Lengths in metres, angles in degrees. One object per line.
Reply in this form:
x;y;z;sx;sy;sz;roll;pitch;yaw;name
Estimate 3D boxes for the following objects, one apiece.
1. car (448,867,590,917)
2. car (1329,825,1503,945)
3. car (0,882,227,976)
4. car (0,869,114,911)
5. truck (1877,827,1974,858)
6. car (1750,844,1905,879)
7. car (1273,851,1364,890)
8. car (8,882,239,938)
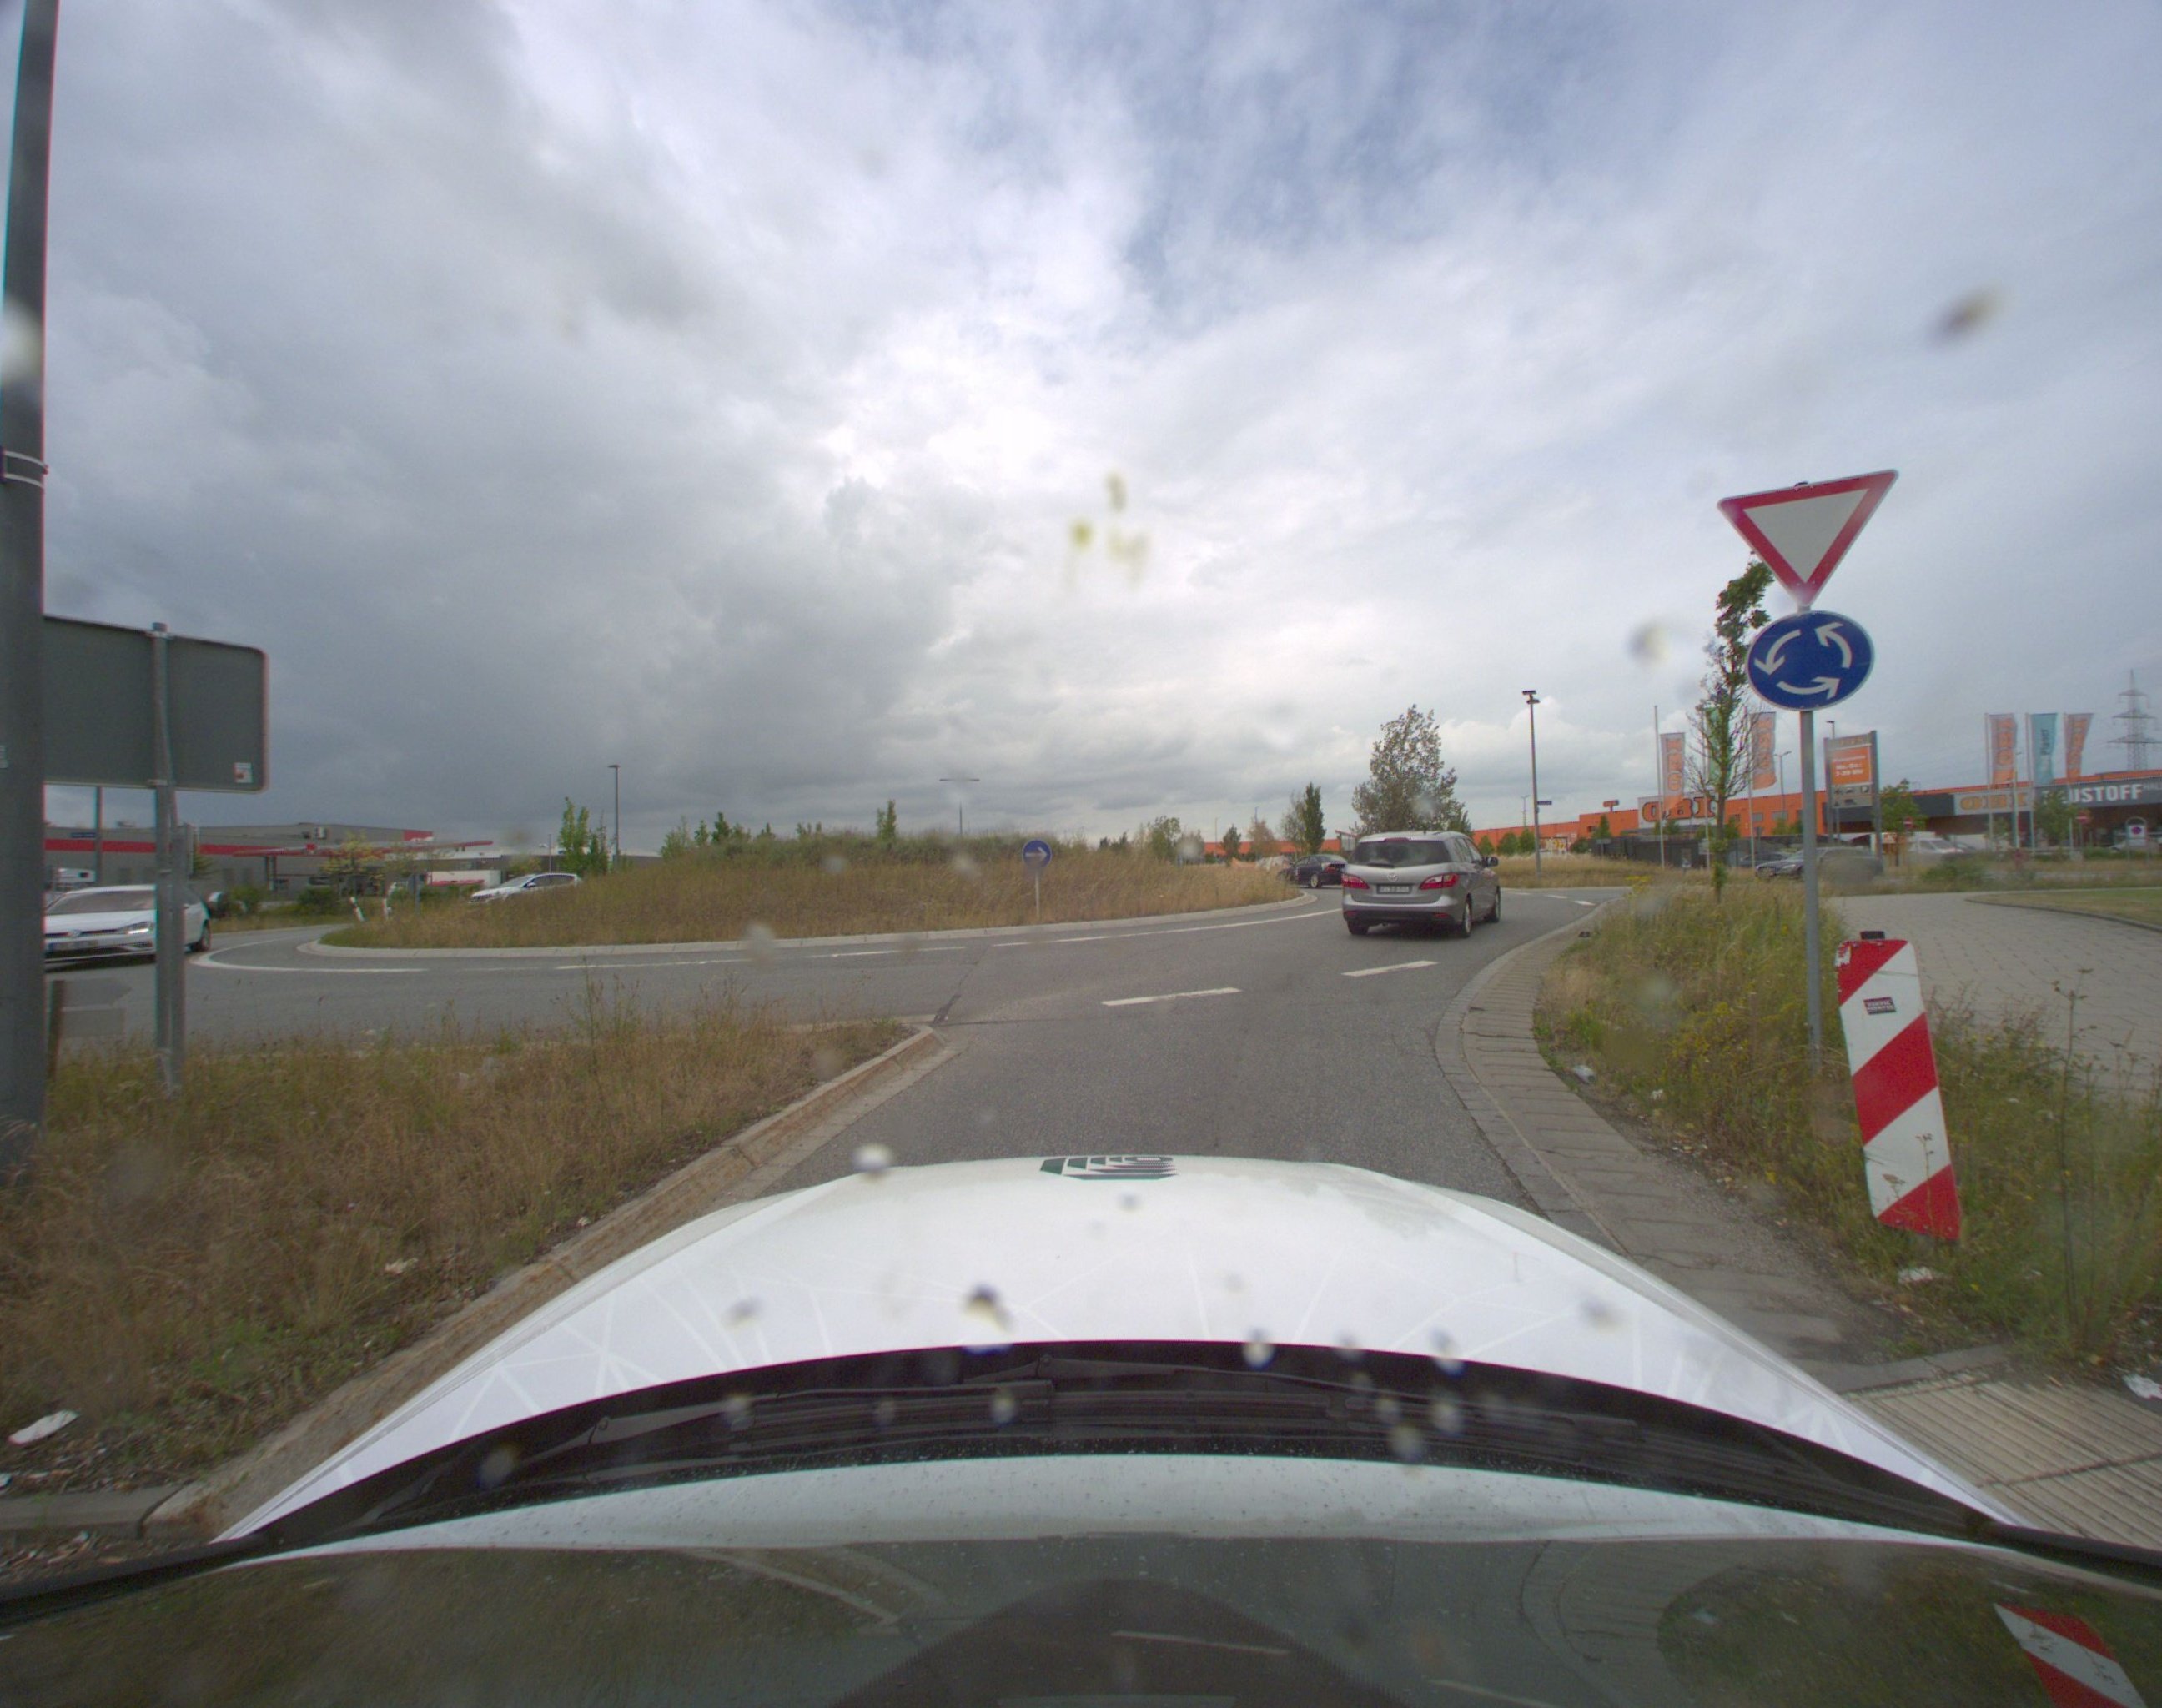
-21.319;1.405;31.108;1.713;1.558;4.108;-3;0;22;car
5.564;0.356;13.225;1.721;1.598;4.024;1;3;36;car
-18.475;1.324;15.813;1.735;1.408;4.592;-3;0;-36;car
-73.834;2.540;57.458;2.460;2.820;7.670;0;-3;-7;car
75.117;-0.976;72.557;2.434;2.484;5.527;1;-3;-11;truck
31.063;0.304;34.004;4.655;1.404;1.929;0;-1;2;car
9.427;0.602;32.632;1.740;1.403;3.979;-1;1;-13;car
-31.885;1.826;27.366;4.660;1.754;1.710;2;-3;-33;car
